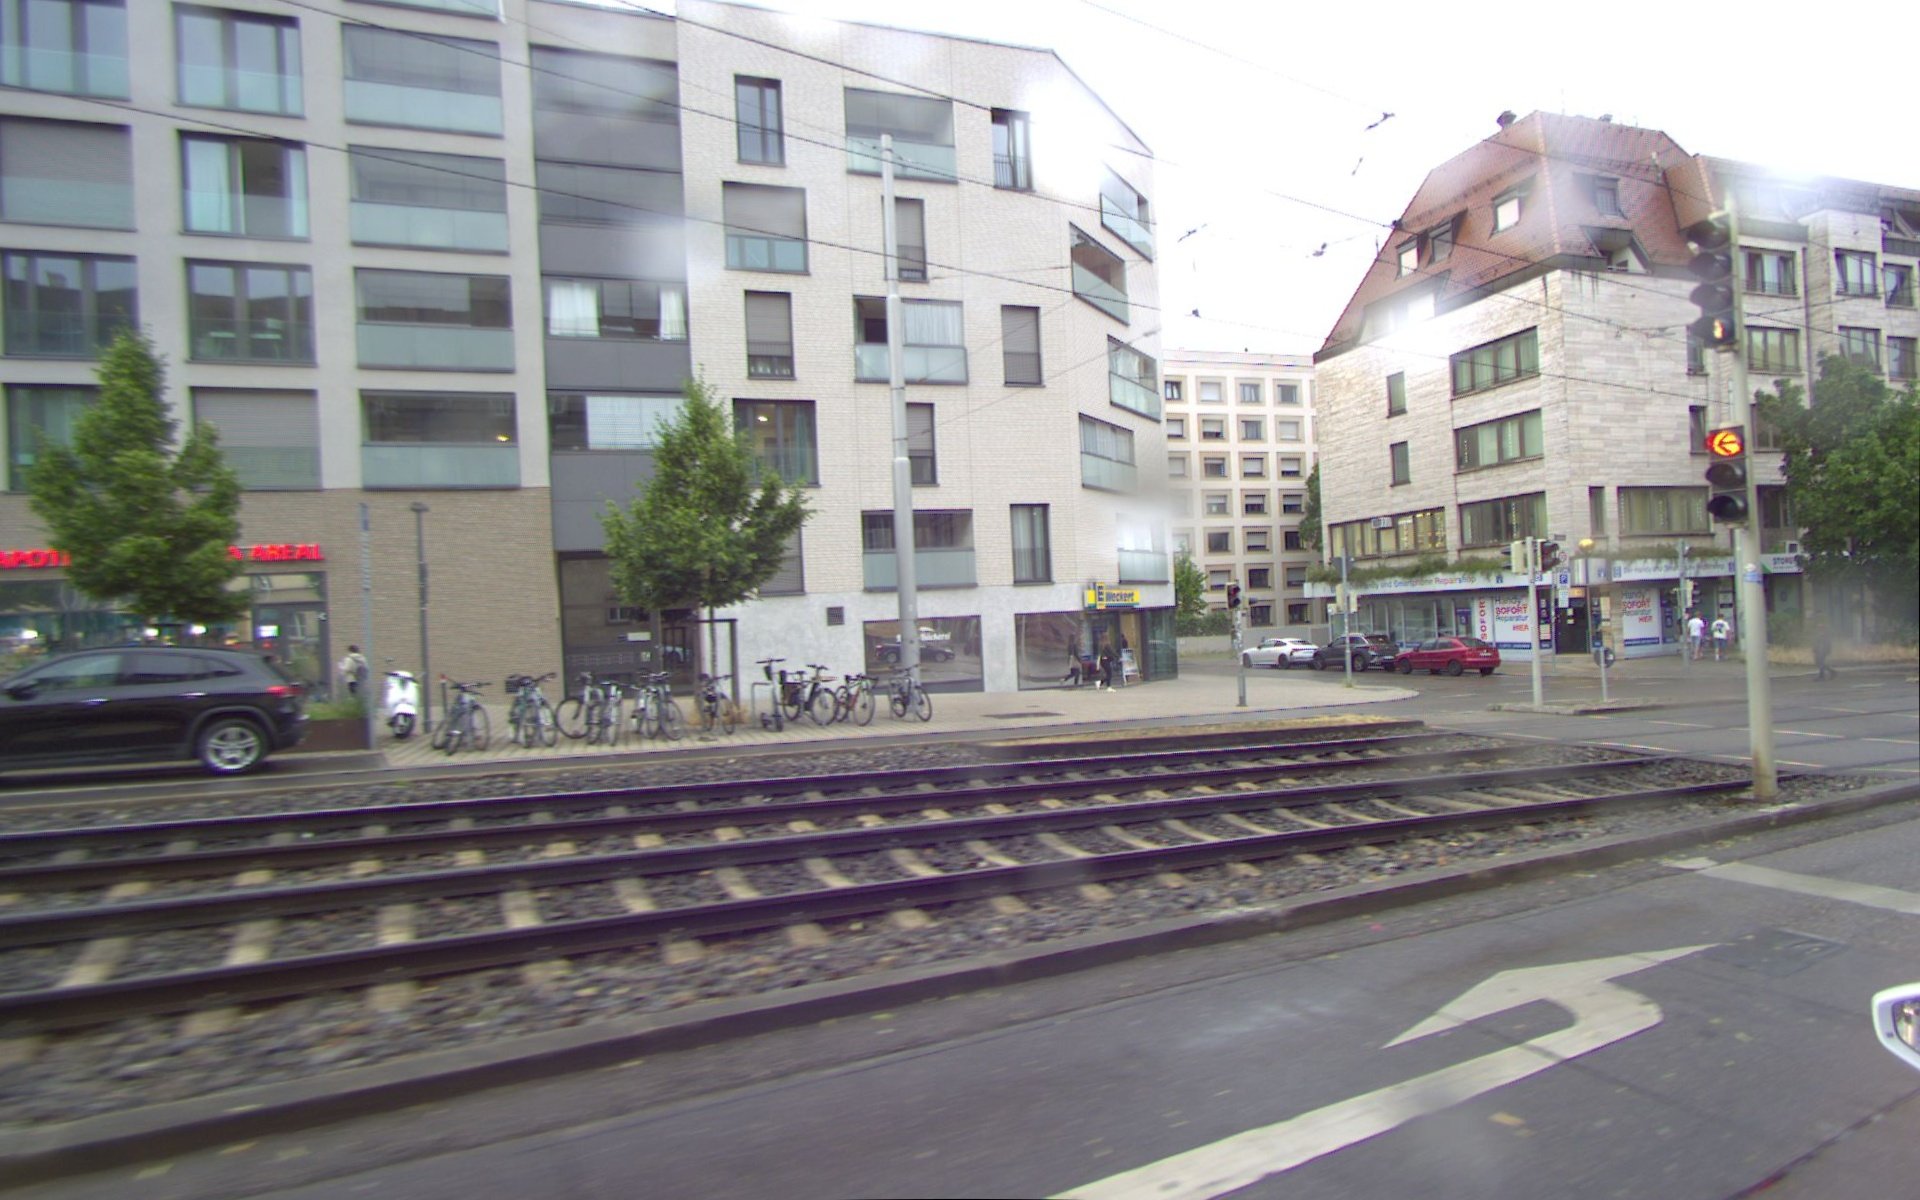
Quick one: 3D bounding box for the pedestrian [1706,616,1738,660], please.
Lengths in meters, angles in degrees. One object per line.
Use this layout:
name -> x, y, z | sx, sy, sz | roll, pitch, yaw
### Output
pedestrian -> 27.817, 1.390, 36.672 | 0.673, 1.569, 0.646 | 1, 0, -21

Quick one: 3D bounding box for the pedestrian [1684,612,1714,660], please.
pedestrian -> 27.482, 1.323, 37.356 | 0.673, 1.747, 0.646 | 1, 0, -21

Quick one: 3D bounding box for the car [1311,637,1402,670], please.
car -> 16.704, 2.221, 42.524 | 1.569, 1.335, 3.690 | 1, -2, -19

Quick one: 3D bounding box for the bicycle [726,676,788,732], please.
bicycle -> -3.743, 1.888, 18.409 | 0.384, 0.929, 1.770 | 1, -3, -37

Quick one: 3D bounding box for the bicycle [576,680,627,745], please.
bicycle -> -5.869, 1.807, 16.390 | 0.383, 0.930, 1.773 | 1, -3, -33

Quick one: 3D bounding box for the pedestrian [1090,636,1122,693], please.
pedestrian -> 4.173, 1.823, 28.746 | 0.637, 1.590, 0.775 | -1, -1, 33

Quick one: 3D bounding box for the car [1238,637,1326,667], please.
car -> 15.015, 2.413, 47.154 | 1.569, 1.335, 4.483 | 1, -2, -19

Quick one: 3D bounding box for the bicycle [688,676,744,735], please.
bicycle -> -4.359, 1.853, 17.875 | 0.383, 0.930, 1.773 | 1, -2, -33

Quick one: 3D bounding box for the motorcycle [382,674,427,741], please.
motorcycle -> -9.450, 1.804, 17.067 | 0.537, 1.056, 1.749 | 3, -4, -32

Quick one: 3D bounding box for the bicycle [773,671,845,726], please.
bicycle -> -2.938, 1.889, 19.474 | 1.765, 0.930, 0.385 | -1, -1, 44

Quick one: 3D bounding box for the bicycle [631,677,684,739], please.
bicycle -> -5.172, 1.814, 17.104 | 0.383, 0.930, 1.773 | 1, -2, -33

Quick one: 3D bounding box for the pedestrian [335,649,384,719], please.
pedestrian -> -13.013, 1.817, 21.781 | 0.790, 1.468, 0.539 | 1, 0, -17

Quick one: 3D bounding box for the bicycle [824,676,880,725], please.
bicycle -> -2.128, 1.936, 19.546 | 0.383, 0.887, 1.775 | 1, -3, -31

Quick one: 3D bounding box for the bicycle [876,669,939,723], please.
bicycle -> -1.075, 1.899, 20.149 | 0.436, 0.993, 1.773 | 1, -3, -33

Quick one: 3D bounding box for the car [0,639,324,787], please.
car -> -10.413, 1.307, 12.343 | 4.279, 1.625, 1.672 | 1, -1, -31

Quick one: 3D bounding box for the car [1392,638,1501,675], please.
car -> 18.296, 2.094, 37.948 | 1.569, 1.335, 3.690 | 1, -2, -19

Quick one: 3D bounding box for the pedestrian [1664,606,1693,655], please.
pedestrian -> 27.968, 1.176, 39.113 | 0.673, 1.867, 0.646 | 1, 0, -21

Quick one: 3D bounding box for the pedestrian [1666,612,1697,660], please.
pedestrian -> 27.258, 1.366, 37.951 | 0.673, 1.772, 0.646 | 1, 0, -21

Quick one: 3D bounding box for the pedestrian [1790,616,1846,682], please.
pedestrian -> 24.593, 1.387, 28.791 | 0.947, 1.854, 0.927 | 1, 0, -27

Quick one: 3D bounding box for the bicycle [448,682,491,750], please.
bicycle -> -7.686, 1.786, 15.727 | 0.383, 0.930, 1.773 | 1, -2, -33

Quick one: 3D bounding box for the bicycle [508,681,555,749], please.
bicycle -> -6.891, 1.817, 16.119 | 0.383, 0.930, 1.773 | 1, -2, -33

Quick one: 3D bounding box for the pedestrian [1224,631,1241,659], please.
pedestrian -> 15.366, 2.524, 56.634 | 0.640, 1.569, 0.680 | 1, 0, -21
